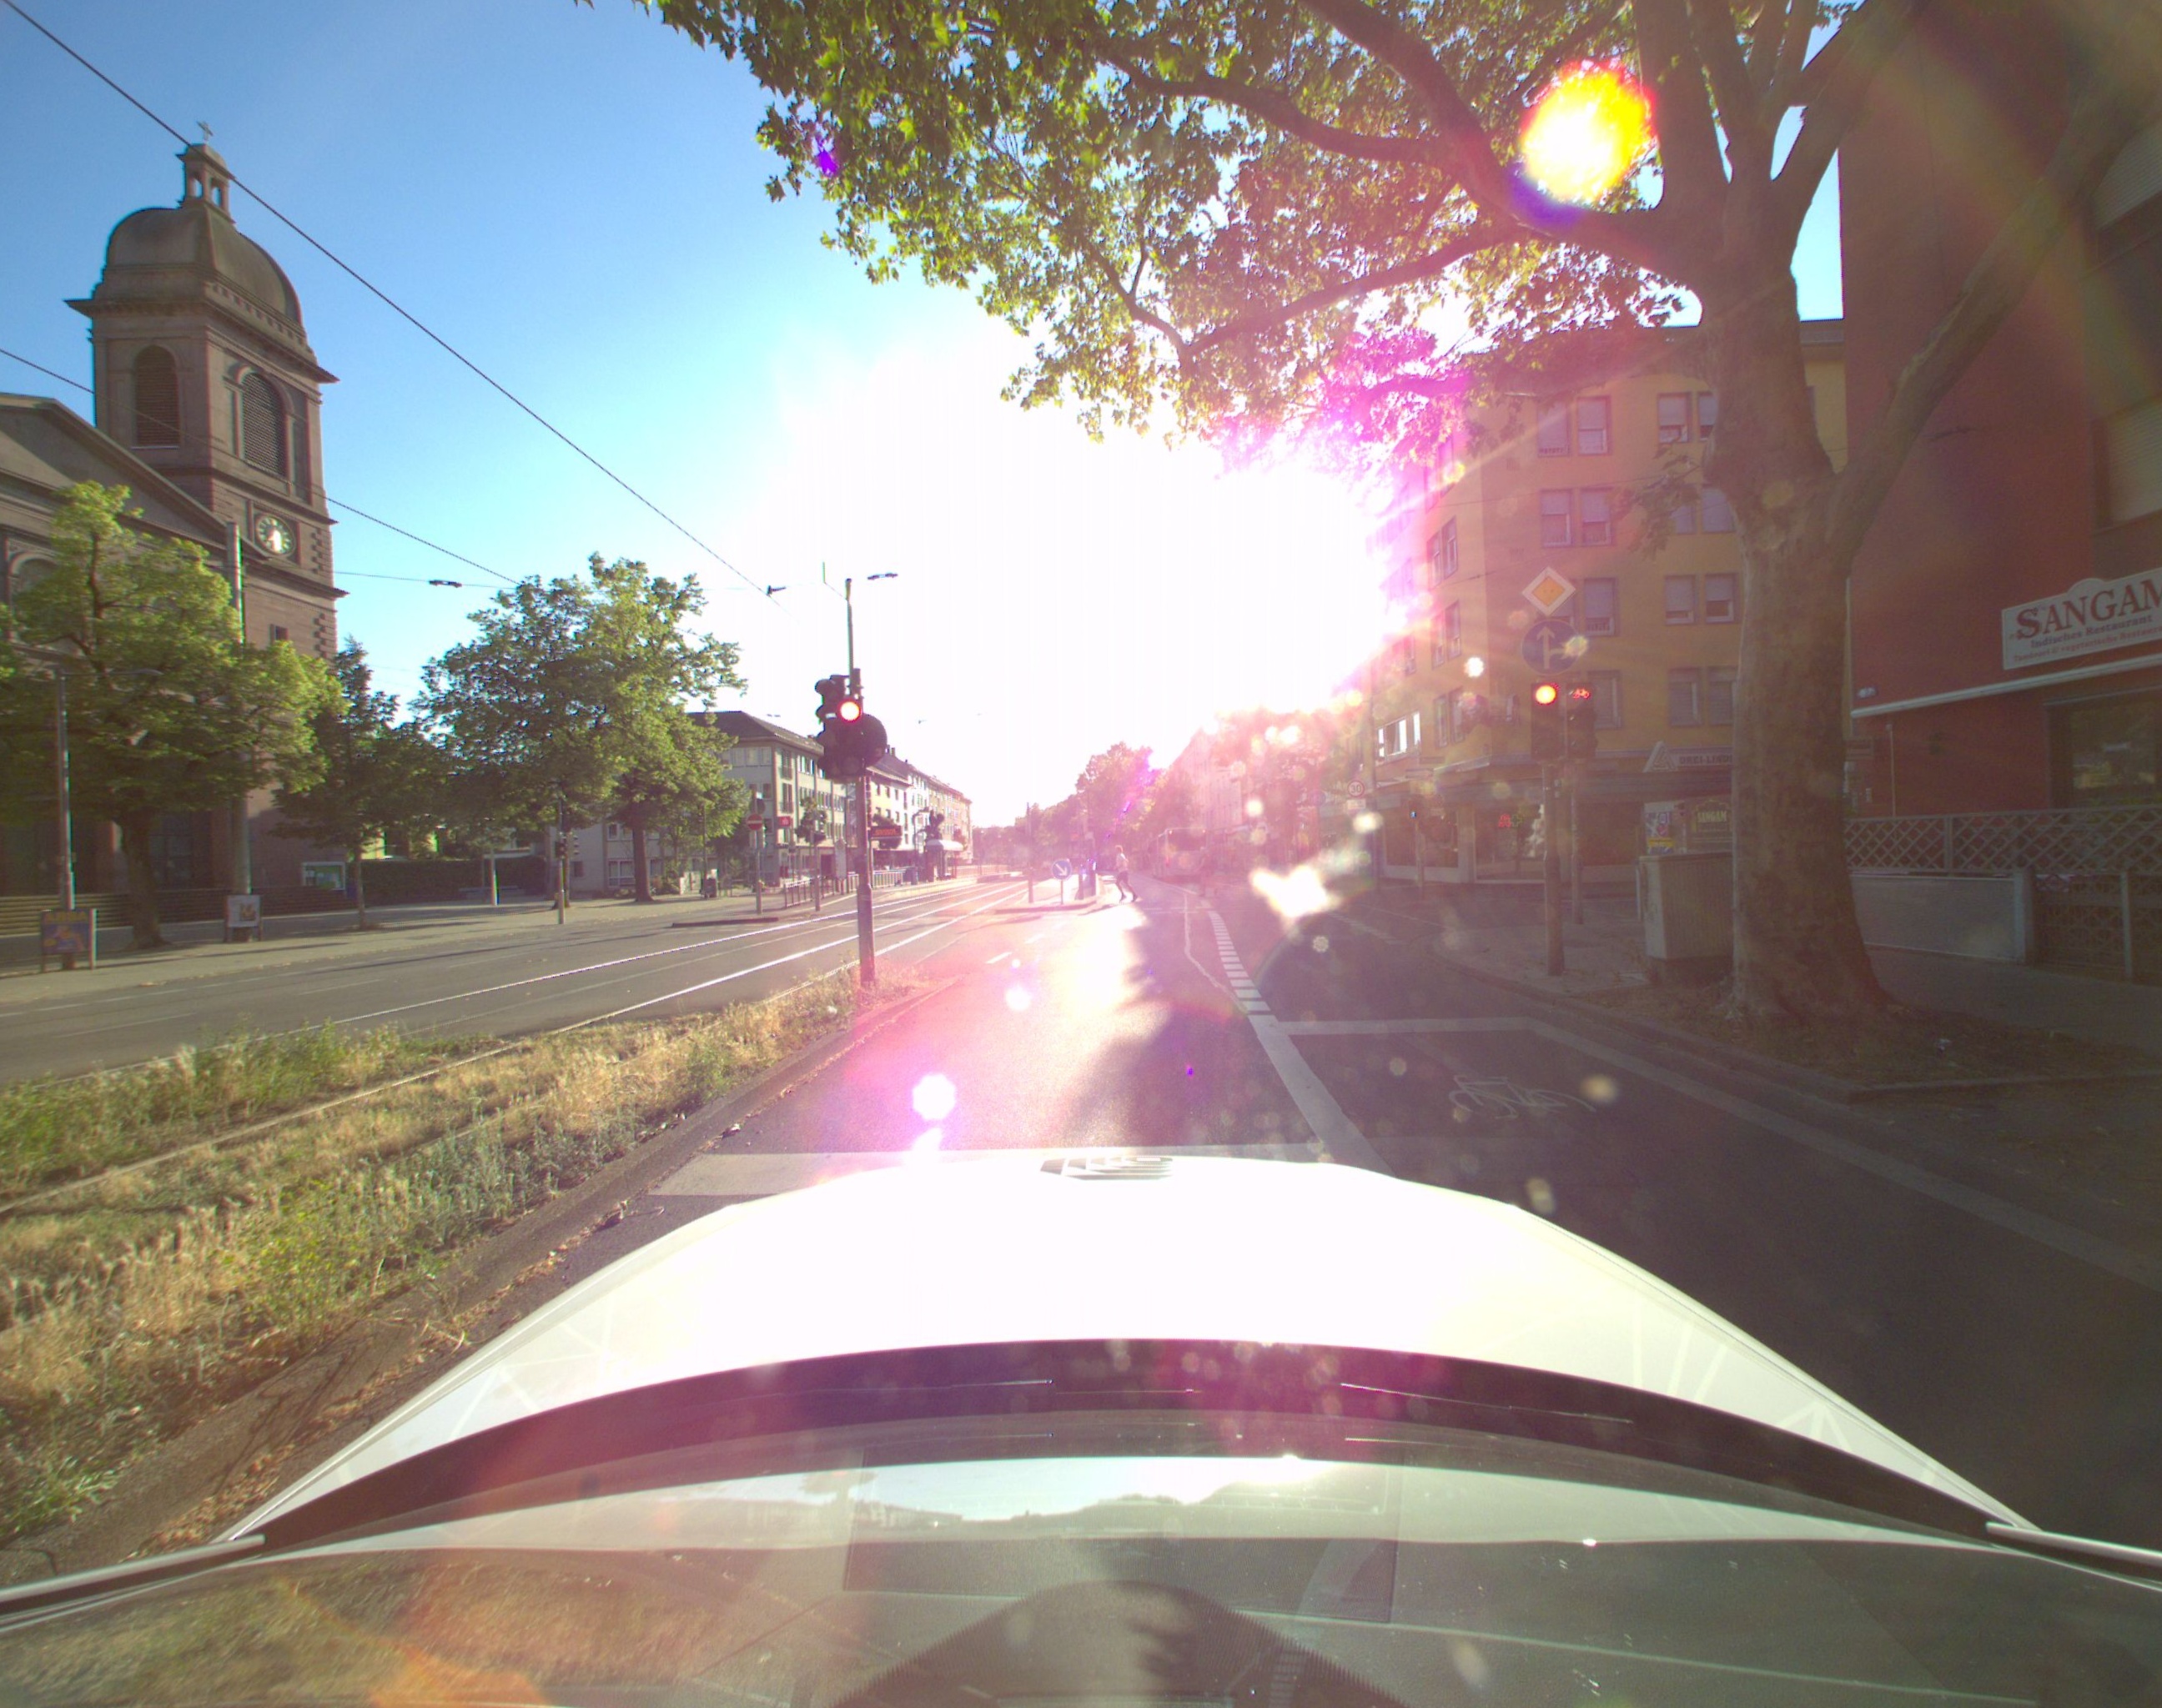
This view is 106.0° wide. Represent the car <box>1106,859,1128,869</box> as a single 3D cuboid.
[{"bbox_3d":[7.128,1.992,161.235,3.911,1.699,1.817,-2,0,-27],"label":"car"}]

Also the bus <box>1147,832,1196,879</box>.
[{"bbox_3d":[6.398,0.118,58.954,2.801,3.101,9.097,0,0,2],"label":"bus"}]

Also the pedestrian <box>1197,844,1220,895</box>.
[{"bbox_3d":[4.457,0.542,28.580,0.677,1.770,0.687,-2,0,2],"label":"pedestrian"}]

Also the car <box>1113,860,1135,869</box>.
[{"bbox_3d":[8.382,2.033,158.562,3.911,1.699,1.817,-2,0,-27],"label":"car"}]

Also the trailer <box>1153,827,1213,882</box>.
[{"bbox_3d":[6.106,0.056,50.012,2.801,3.110,8.797,0,0,2],"label":"trailer"}]

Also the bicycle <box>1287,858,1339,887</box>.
[{"bbox_3d":[8.899,0.703,31.246,1.766,1.021,0.694,-4,-1,1],"label":"bicycle"}]

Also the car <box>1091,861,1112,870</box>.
[{"bbox_3d":[4.165,2.307,166.680,3.911,1.596,1.676,-2,0,-27],"label":"car"}]

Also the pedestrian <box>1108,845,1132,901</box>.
[{"bbox_3d":[1.264,0.620,26.424,0.678,1.770,0.686,-2,0,-3],"label":"pedestrian"}]
